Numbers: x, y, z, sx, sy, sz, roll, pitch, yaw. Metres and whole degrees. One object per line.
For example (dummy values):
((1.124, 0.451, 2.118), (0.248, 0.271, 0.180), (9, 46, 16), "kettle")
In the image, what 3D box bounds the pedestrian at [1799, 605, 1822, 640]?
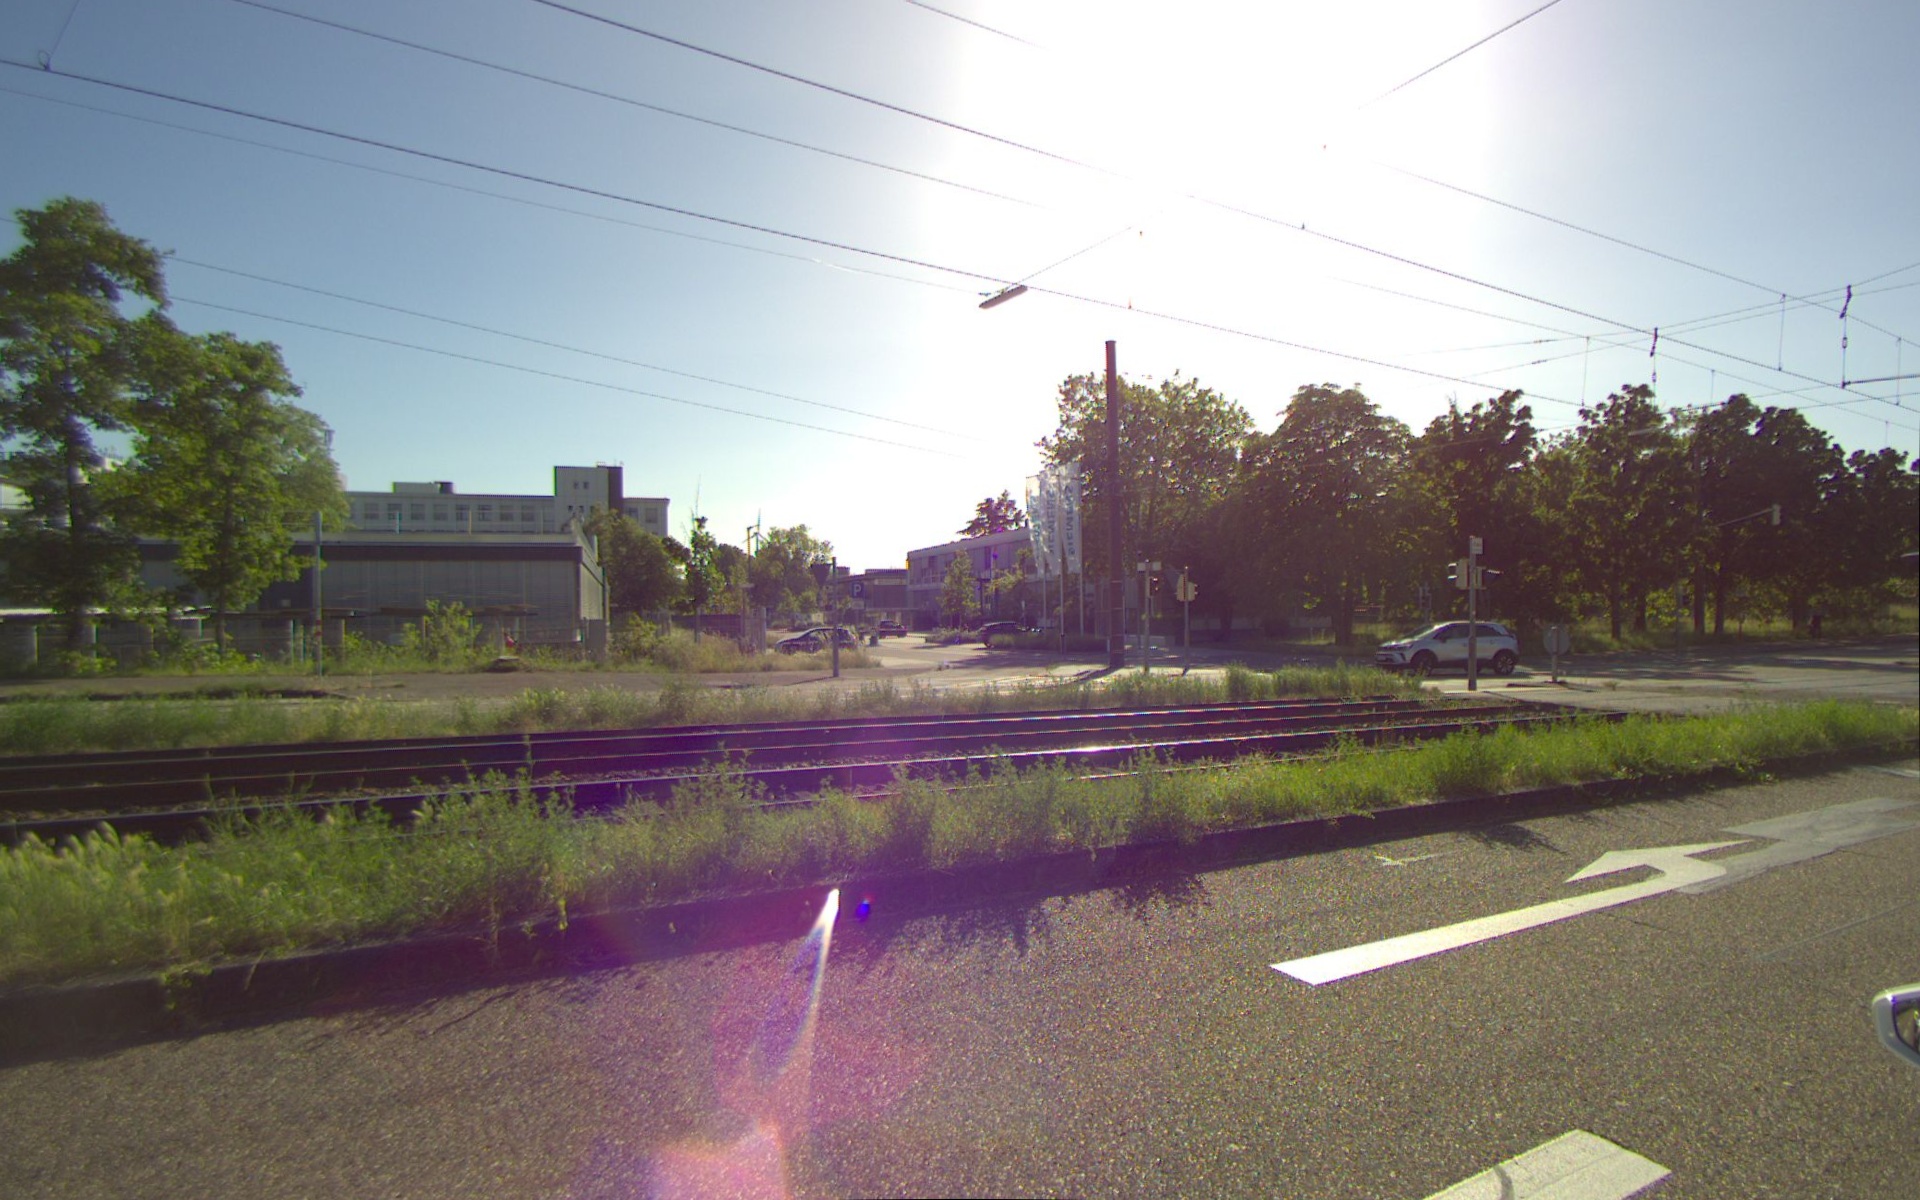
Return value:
((51.449, 1.356, 60.759), (0.853, 2.040, 0.835), (1, 0, -32), "pedestrian")

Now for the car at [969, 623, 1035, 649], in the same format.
((2.594, 2.187, 61.689), (3.818, 1.508, 1.682), (1, 0, -32), "car")

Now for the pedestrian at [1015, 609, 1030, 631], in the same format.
((4.524, 1.464, 72.709), (0.810, 1.549, 0.762), (1, 0, -17), "pedestrian")

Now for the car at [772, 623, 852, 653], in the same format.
((-7.623, 1.957, 51.678), (3.806, 1.453, 1.687), (1, 0, -23), "car")

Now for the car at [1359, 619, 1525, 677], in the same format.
((14.556, 1.430, 30.484), (4.172, 1.628, 1.856), (1, 0, -3), "car")

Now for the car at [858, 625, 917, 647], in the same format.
((-5.162, 2.565, 71.765), (3.893, 1.471, 1.688), (1, 0, -21), "car")
